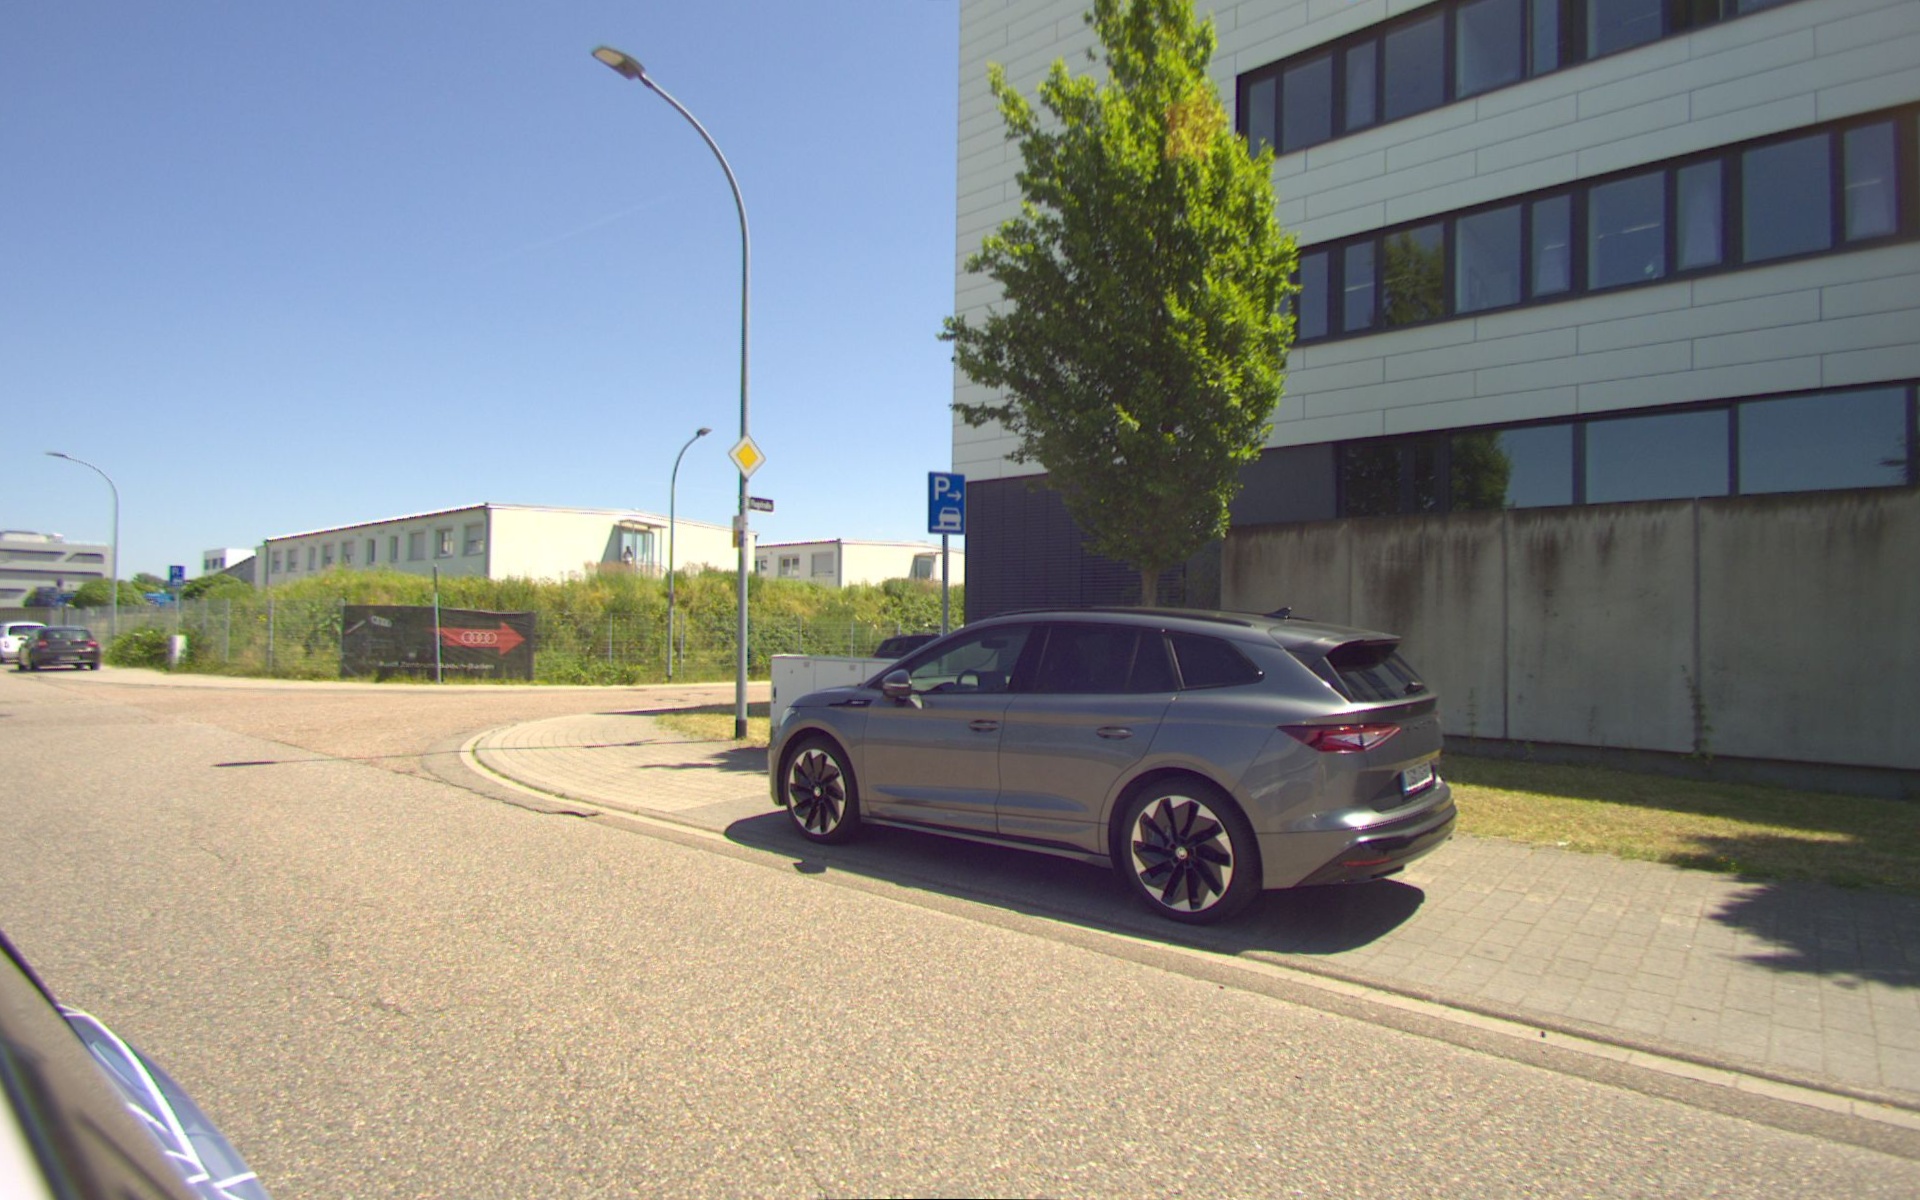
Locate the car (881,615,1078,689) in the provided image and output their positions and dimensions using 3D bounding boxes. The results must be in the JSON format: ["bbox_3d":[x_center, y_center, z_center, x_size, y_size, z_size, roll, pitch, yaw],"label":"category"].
[{"bbox_3d":[0.365,1.358,24.806,4.902,1.605,1.785,-5,-7,43],"label":"car"}]

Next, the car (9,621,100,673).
[{"bbox_3d":[-29.026,1.455,32.413,4.067,1.461,1.657,0,1,41],"label":"car"}]

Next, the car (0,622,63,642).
[{"bbox_3d":[-69.081,2.353,74.582,1.862,1.390,4.201,-1,-3,42],"label":"car"}]

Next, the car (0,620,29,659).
[{"bbox_3d":[-40.771,1.638,42.758,3.907,1.541,1.656,0,-1,41],"label":"car"}]

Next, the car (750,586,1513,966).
[{"bbox_3d":[0.804,0.796,6.383,4.476,1.600,1.753,-1,-2,39],"label":"car"}]

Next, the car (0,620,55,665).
[{"bbox_3d":[-35.959,1.586,38.633,3.755,1.541,1.657,0,0,41],"label":"car"}]
